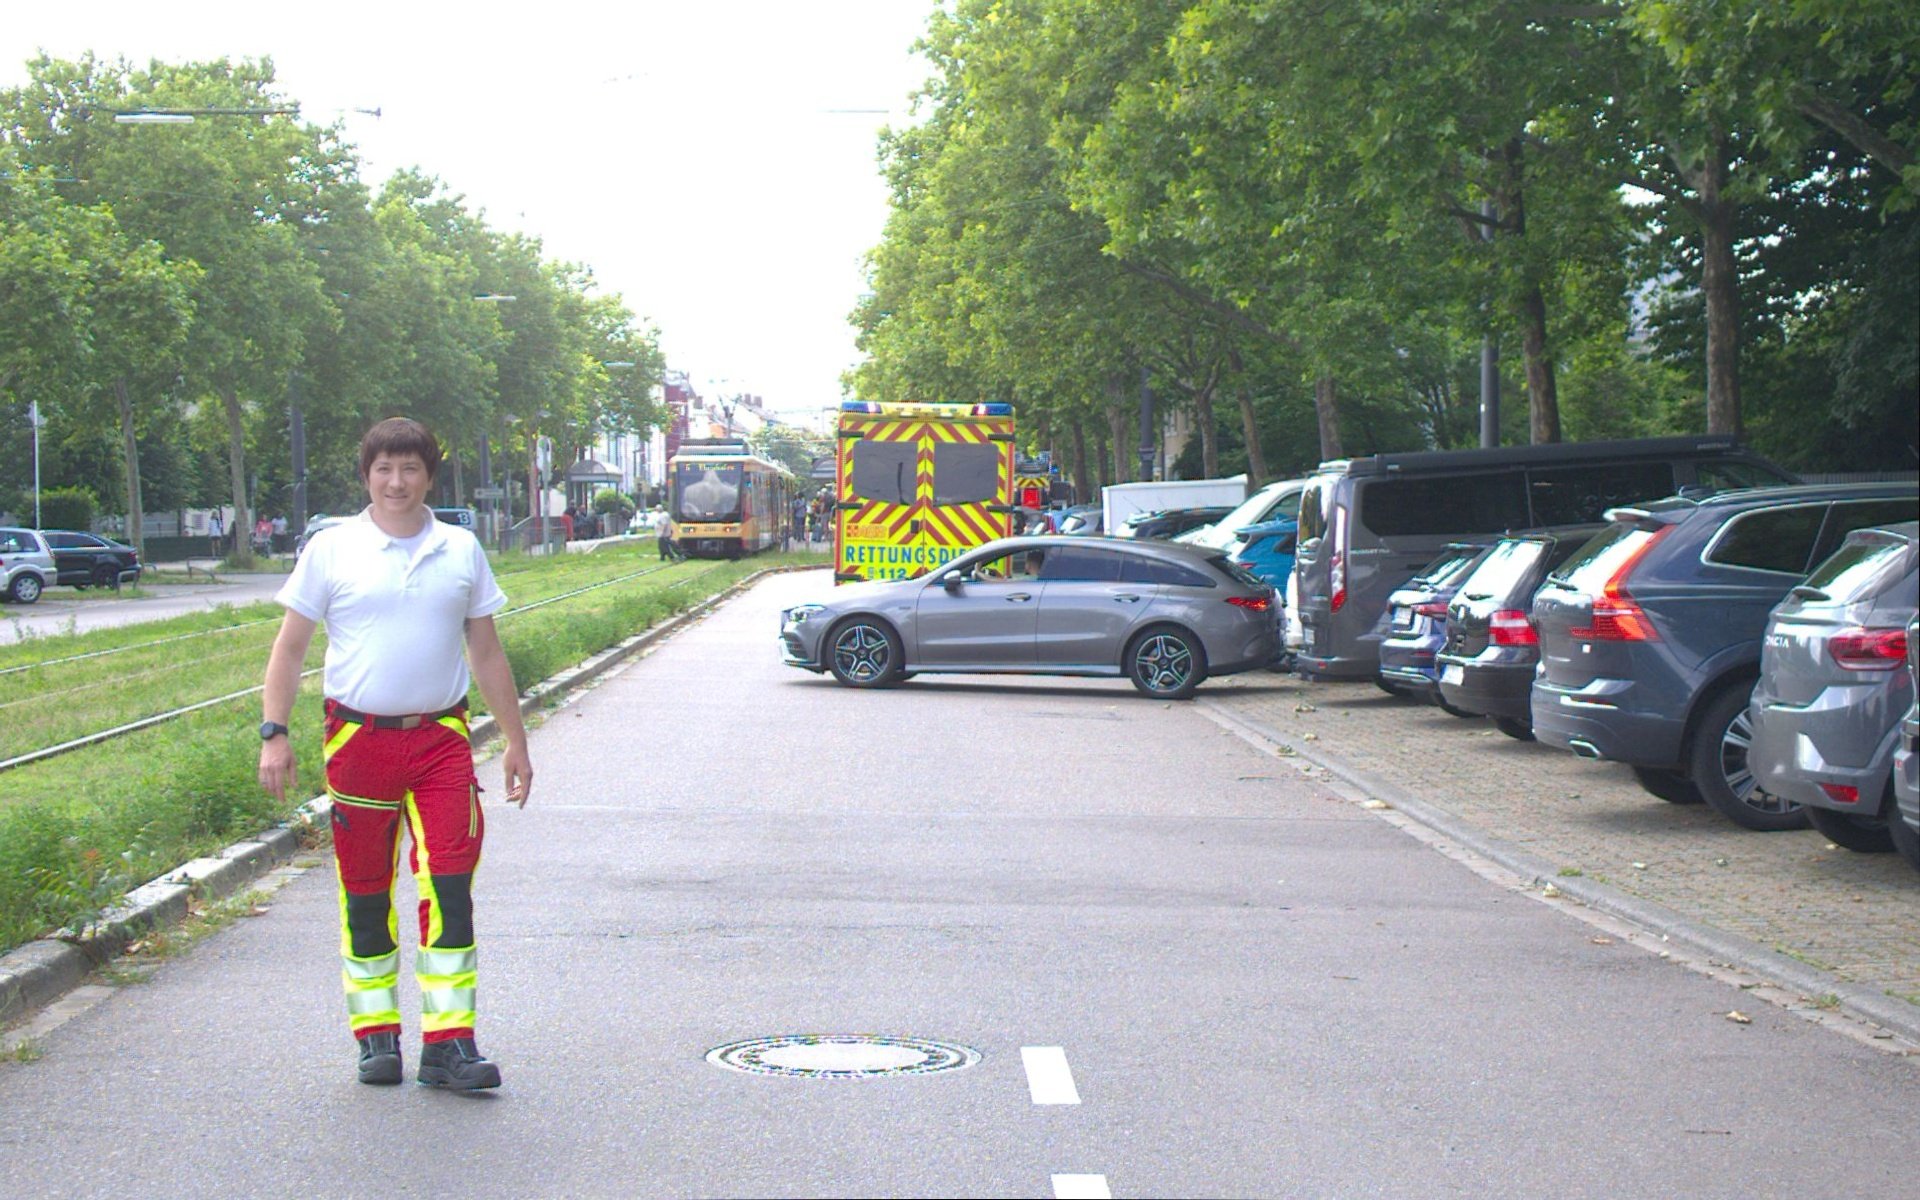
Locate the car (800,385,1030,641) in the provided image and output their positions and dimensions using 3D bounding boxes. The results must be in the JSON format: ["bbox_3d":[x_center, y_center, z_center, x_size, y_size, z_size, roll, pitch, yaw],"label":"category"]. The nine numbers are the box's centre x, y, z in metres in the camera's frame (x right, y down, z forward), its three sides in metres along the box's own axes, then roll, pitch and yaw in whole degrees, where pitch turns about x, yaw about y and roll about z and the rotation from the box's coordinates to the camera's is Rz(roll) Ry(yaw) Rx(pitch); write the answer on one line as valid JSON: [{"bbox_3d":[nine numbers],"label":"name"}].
[{"bbox_3d":[-0.522,-1.107,44.216,2.641,2.956,6.300,2,1,0],"label":"car"}]

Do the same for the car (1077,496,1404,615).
[{"bbox_3d":[4.114,-0.672,50.892,4.545,1.603,1.856,-2,1,-5],"label":"car"}]

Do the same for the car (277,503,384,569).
[{"bbox_3d":[-15.895,-1.636,86.992,1.993,1.552,4.370,-2,2,-2],"label":"car"}]

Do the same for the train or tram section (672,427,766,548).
[{"bbox_3d":[-7.511,-3.469,108.024,2.511,3.572,7.446,-2,1,-2],"label":"train or tram section"}]

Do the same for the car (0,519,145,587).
[{"bbox_3d":[-20.505,-1.052,76.532,4.223,1.477,1.883,-1,1,-41],"label":"car"}]

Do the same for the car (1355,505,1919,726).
[{"bbox_3d":[5.055,0.091,25.586,3.965,1.489,1.756,-2,1,-1],"label":"car"}]

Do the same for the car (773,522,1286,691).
[{"bbox_3d":[0.675,0.028,31.398,4.455,1.381,1.766,2,1,9],"label":"car"}]

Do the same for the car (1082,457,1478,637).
[{"bbox_3d":[3.892,-0.664,42.256,4.545,2.036,1.856,-2,1,-5],"label":"car"}]

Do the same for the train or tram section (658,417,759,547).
[{"bbox_3d":[-7.296,-3.371,100.594,2.511,3.572,7.446,-2,1,-2],"label":"train or tram section"}]

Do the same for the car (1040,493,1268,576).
[{"bbox_3d":[4.069,-1.395,72.444,4.545,1.603,1.856,-2,1,-5],"label":"car"}]

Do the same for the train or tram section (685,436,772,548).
[{"bbox_3d":[-7.717,-3.567,115.467,2.511,3.572,7.446,-2,1,-2],"label":"train or tram section"}]

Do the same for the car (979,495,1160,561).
[{"bbox_3d":[2.873,-1.906,90.512,4.545,1.603,1.856,-2,1,-5],"label":"car"}]

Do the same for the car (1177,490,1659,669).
[{"bbox_3d":[4.630,-0.228,35.141,4.545,1.654,1.856,-2,1,-5],"label":"car"}]

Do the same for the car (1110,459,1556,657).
[{"bbox_3d":[4.043,-0.481,37.665,4.545,1.994,1.856,-2,1,-5],"label":"car"}]

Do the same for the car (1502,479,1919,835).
[{"bbox_3d":[5.034,0.213,17.073,4.381,1.634,1.756,-1,1,1],"label":"car"}]

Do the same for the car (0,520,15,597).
[{"bbox_3d":[-20.348,-0.797,65.315,4.222,1.477,1.883,0,1,-37],"label":"car"}]

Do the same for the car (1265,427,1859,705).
[{"bbox_3d":[4.940,-0.300,28.623,4.545,2.116,1.856,-2,1,-1],"label":"car"}]

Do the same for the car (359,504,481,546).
[{"bbox_3d":[-22.137,-3.085,141.031,4.614,1.627,1.883,-2,2,-40],"label":"car"}]

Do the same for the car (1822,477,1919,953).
[{"bbox_3d":[5.576,0.330,11.887,4.657,1.620,1.848,-2,2,-5],"label":"car"}]

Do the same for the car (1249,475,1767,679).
[{"bbox_3d":[5.136,-0.239,32.613,4.545,1.760,1.856,-2,1,-1],"label":"car"}]

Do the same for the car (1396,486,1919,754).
[{"bbox_3d":[5.079,0.082,22.722,3.964,1.600,1.757,-2,1,-11],"label":"car"}]

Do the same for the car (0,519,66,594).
[{"bbox_3d":[-20.159,-0.874,68.332,4.222,1.477,1.883,0,1,-37],"label":"car"}]

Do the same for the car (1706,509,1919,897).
[{"bbox_3d":[5.512,0.341,14.392,4.381,1.496,1.756,-1,2,1],"label":"car"}]

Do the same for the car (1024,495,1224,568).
[{"bbox_3d":[3.908,-1.650,82.292,4.545,1.603,1.856,-2,1,-5],"label":"car"}]

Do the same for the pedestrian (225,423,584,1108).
[{"bbox_3d":[-1.461,0.395,8.954,0.803,1.680,0.851,0,1,-18],"label":"pedestrian"}]

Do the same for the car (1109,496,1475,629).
[{"bbox_3d":[4.379,-0.514,45.739,4.545,1.603,1.856,-2,1,-5],"label":"car"}]

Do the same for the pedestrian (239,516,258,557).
[{"bbox_3d":[-24.133,-2.155,116.589,0.422,1.409,0.467,0,2,24],"label":"pedestrian"}]

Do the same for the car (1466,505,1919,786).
[{"bbox_3d":[5.088,0.211,20.005,3.965,1.489,1.756,-2,1,-1],"label":"car"}]

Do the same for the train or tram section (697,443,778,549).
[{"bbox_3d":[-7.916,-3.665,122.908,2.511,3.572,7.446,-2,1,-2],"label":"train or tram section"}]

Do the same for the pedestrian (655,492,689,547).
[{"bbox_3d":[-8.033,-2.237,95.963,0.880,1.520,0.751,1,1,-2],"label":"pedestrian"}]
